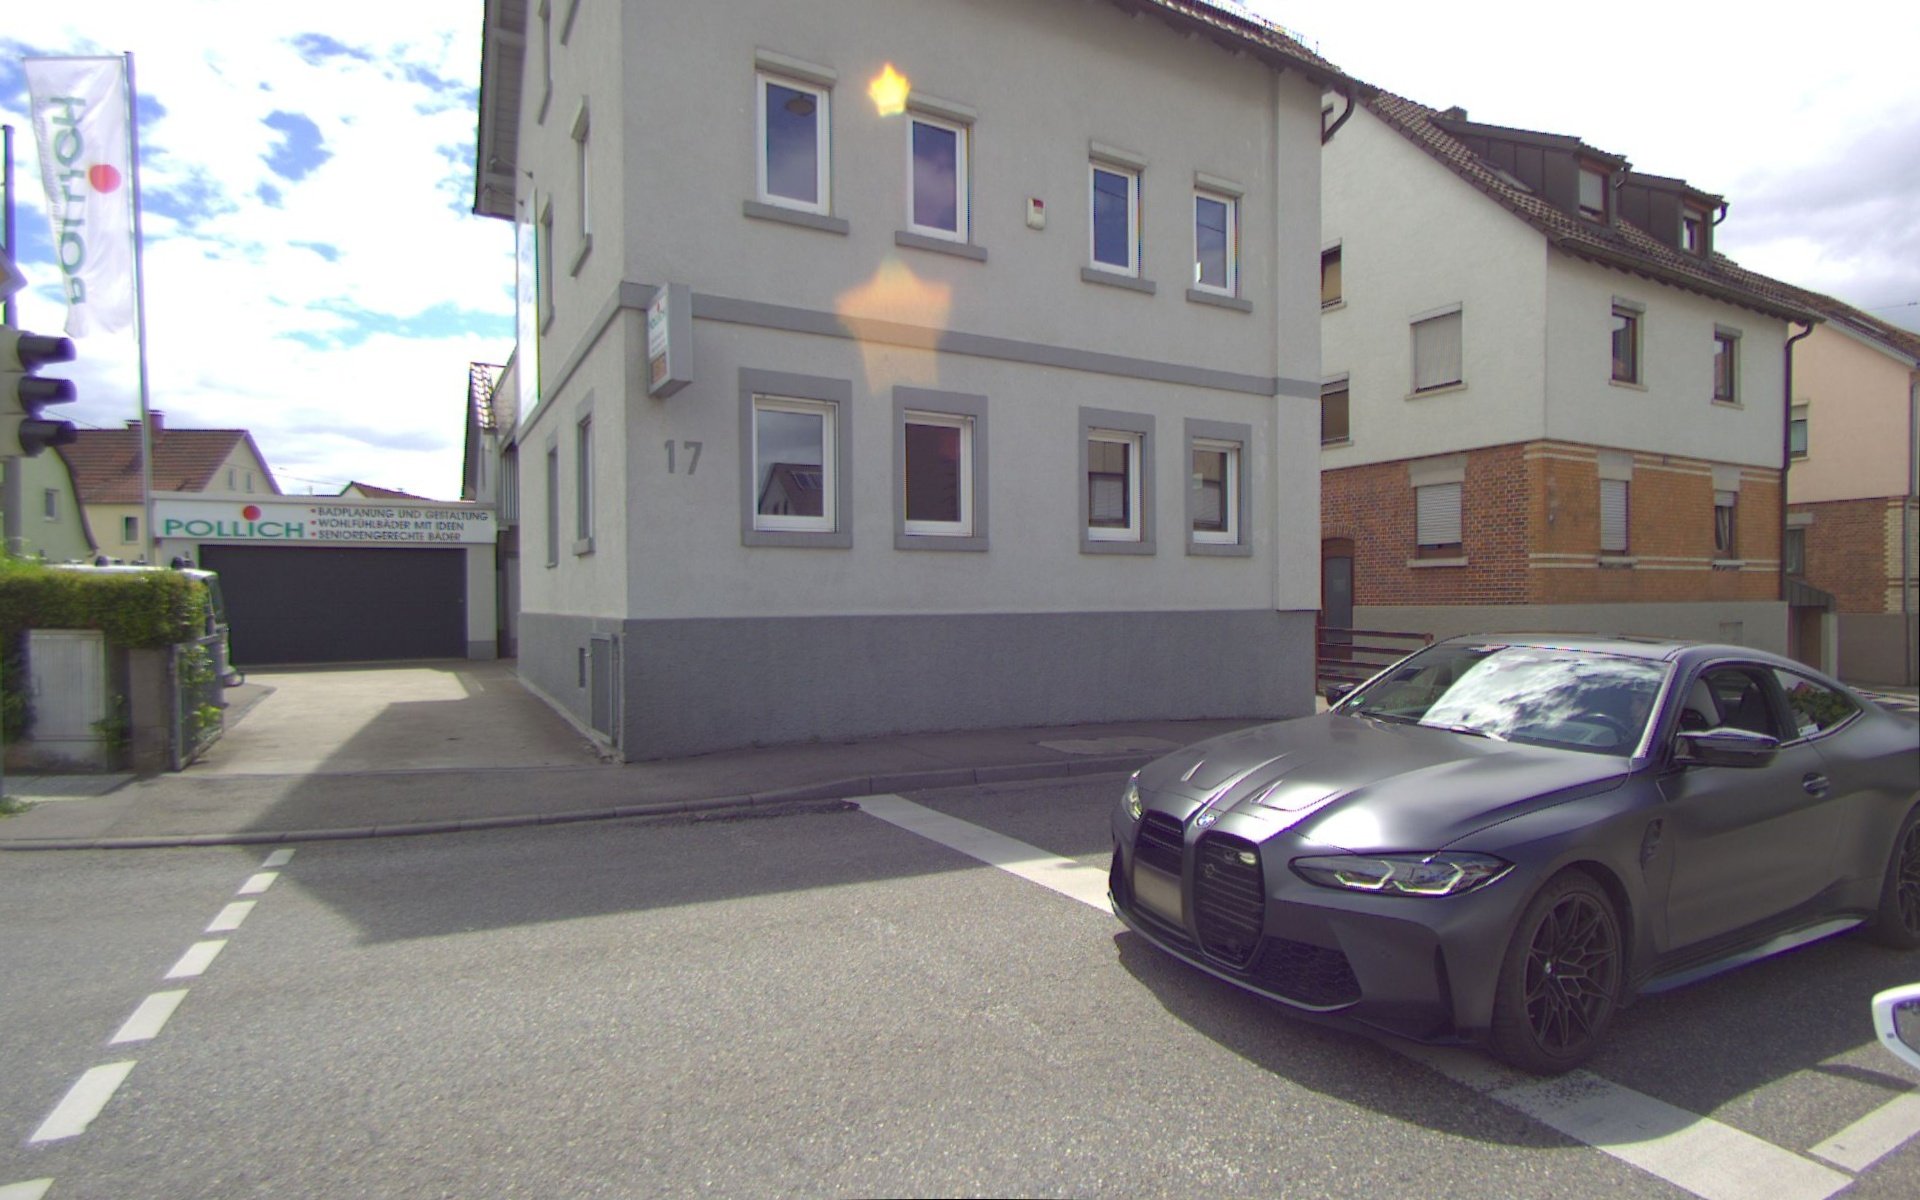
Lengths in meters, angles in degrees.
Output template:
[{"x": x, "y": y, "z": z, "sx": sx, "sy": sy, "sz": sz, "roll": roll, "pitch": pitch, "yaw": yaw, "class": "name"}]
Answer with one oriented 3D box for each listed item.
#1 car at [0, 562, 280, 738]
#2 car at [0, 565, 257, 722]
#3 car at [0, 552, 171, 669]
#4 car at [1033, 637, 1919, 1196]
[{"x": -10.834, "y": 0.579, "z": 12.297, "sx": 3.952, "sy": 1.973, "sz": 1.985, "roll": 1, "pitch": -1, "yaw": -29, "class": "car"}, {"x": -12.482, "y": 0.597, "z": 14.168, "sx": 3.951, "sy": 2.040, "sz": 1.985, "roll": 1, "pitch": -2, "yaw": -29, "class": "car"}, {"x": -17.346, "y": 0.257, "z": 20.076, "sx": 1.978, "sy": 2.040, "sz": 5.078, "roll": 1, "pitch": -2, "yaw": -33, "class": "car"}, {"x": 2.776, "y": 0.924, "z": 4.754, "sx": 4.564, "sy": 1.476, "sz": 1.984, "roll": 1, "pitch": -2, "yaw": -31, "class": "car"}]
